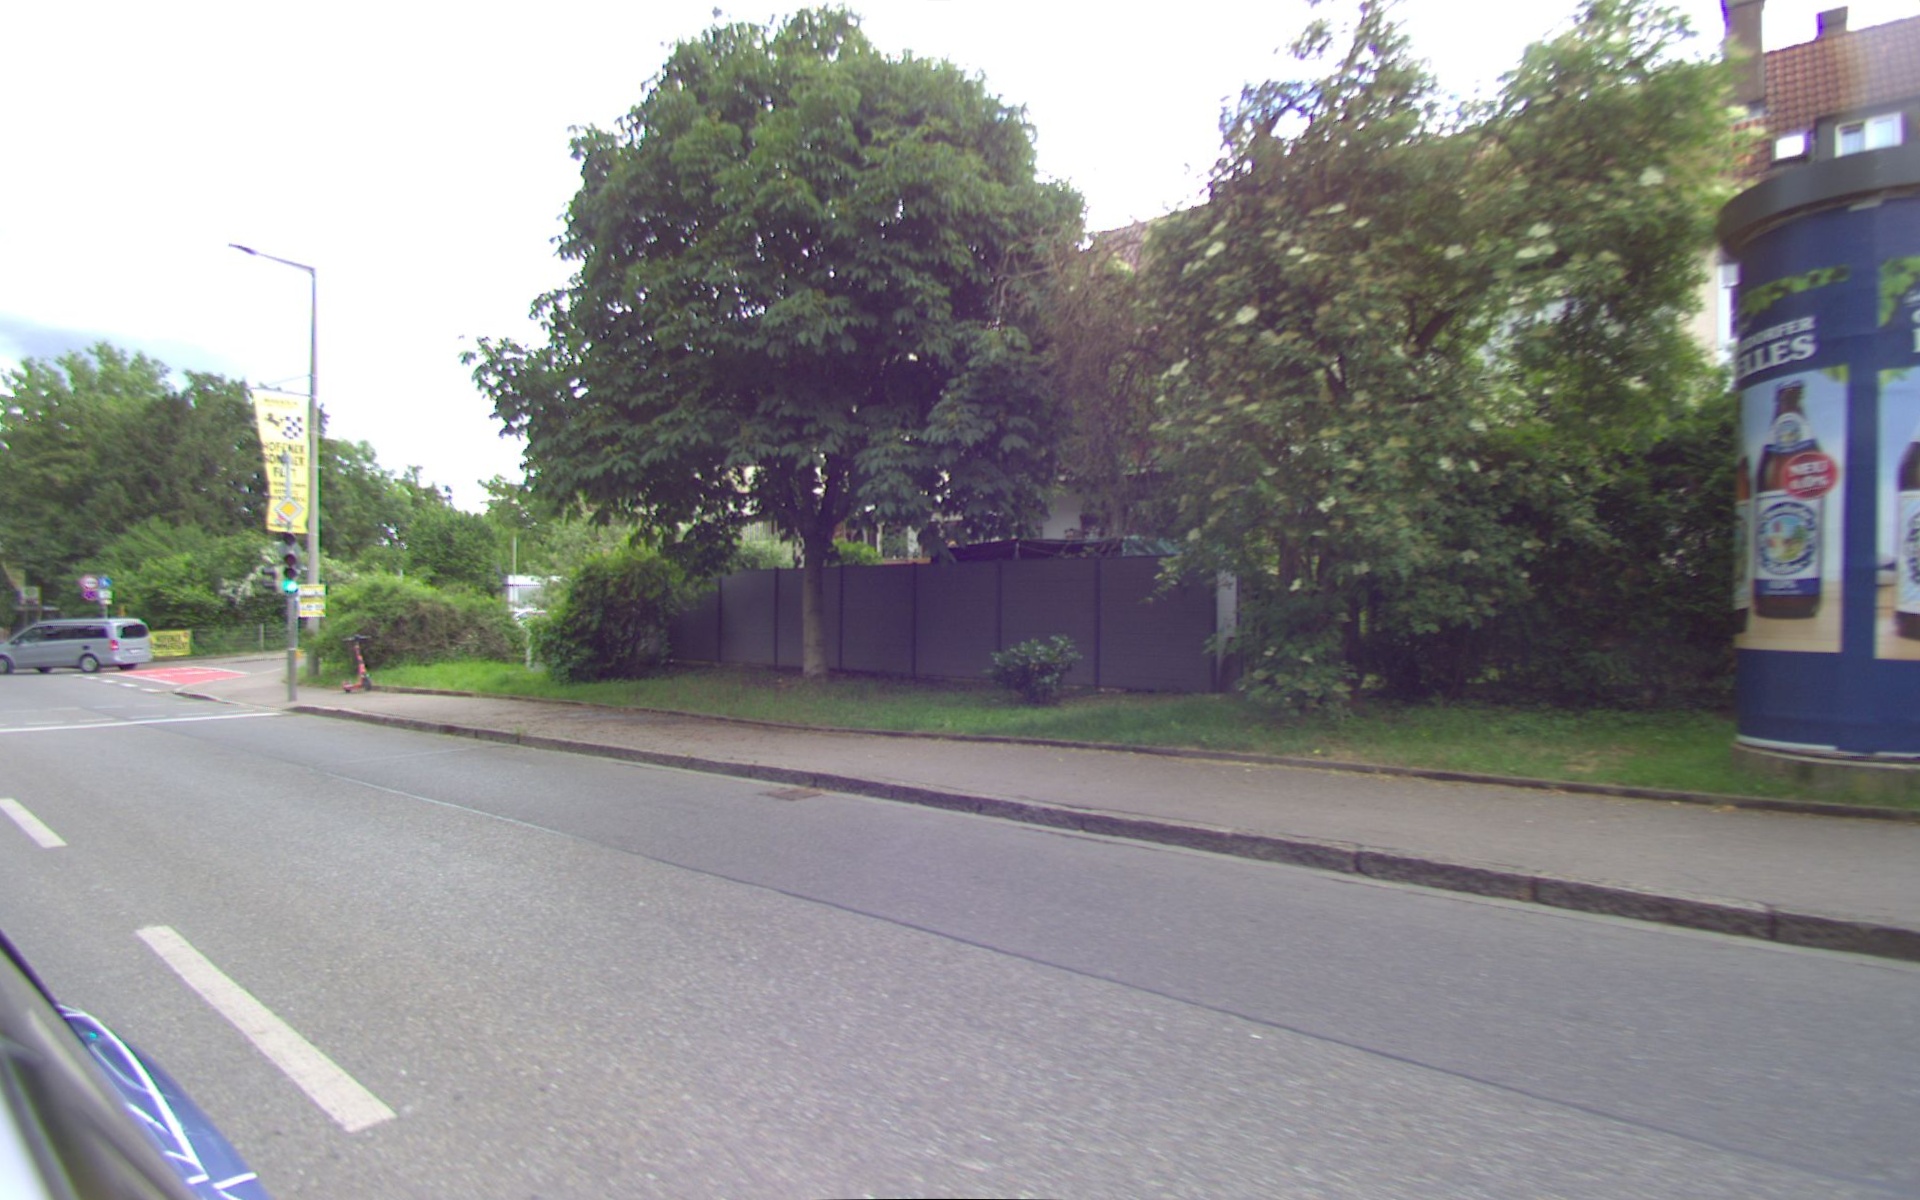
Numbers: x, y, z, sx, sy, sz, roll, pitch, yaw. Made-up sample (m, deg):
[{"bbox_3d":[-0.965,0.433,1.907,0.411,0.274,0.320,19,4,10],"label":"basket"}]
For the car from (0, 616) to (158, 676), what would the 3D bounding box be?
[{"bbox_3d":[-33.033,1.683,37.373,5.076,1.942,1.955,-2,0,-5],"label":"car"}]

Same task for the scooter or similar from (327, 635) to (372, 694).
[{"bbox_3d":[-13.624,1.417,22.578,1.426,1.268,0.457,-2,-1,42],"label":"scooter or similar"}]
